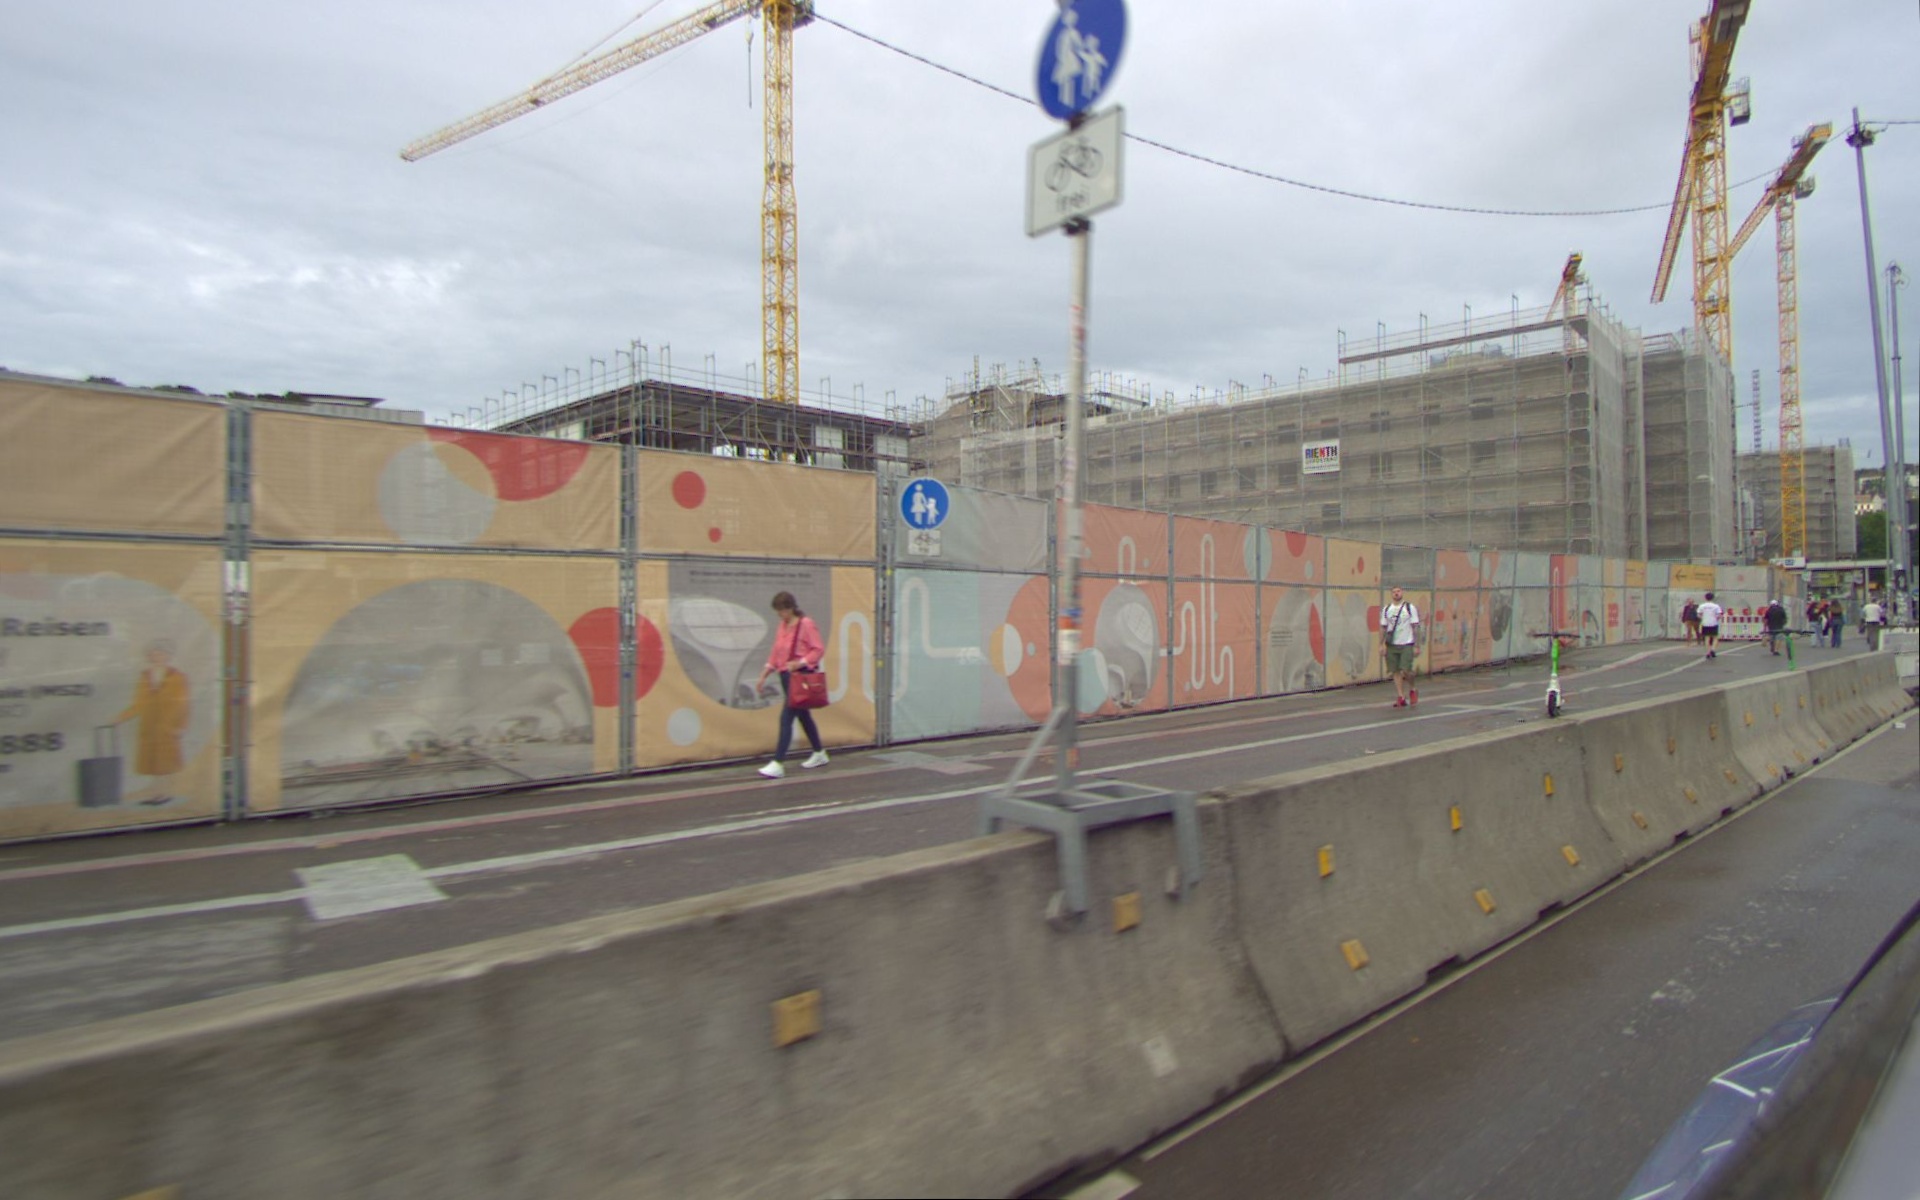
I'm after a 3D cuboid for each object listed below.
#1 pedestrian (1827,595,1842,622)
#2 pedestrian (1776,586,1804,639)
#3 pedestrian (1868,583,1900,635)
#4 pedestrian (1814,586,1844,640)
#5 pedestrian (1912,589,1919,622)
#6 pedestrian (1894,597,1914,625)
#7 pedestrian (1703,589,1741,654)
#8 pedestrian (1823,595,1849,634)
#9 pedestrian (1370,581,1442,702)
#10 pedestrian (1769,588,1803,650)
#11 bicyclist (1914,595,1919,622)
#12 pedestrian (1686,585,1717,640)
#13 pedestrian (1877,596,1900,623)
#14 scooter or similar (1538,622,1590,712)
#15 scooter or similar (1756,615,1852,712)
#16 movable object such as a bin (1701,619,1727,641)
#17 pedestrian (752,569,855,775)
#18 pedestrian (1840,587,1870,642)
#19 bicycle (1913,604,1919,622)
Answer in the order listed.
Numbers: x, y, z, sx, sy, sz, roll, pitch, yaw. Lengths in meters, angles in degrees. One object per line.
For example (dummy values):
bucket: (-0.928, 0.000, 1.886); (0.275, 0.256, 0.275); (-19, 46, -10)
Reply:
pedestrian: (65.979, 0.619, 76.366); (0.618, 2.039, 0.576); (-1, -1, 12)
pedestrian: (30.281, 0.444, 36.933); (0.682, 1.913, 0.684); (0, -1, -45)
pedestrian: (36.824, 0.340, 40.347); (0.955, 2.042, 0.804); (0, -1, -41)
pedestrian: (31.213, 0.478, 36.356); (0.681, 1.913, 0.684); (0, -1, -41)
pedestrian: (58.895, 0.347, 61.941); (0.849, 2.037, 0.788); (0, 0, -37)
pedestrian: (60.936, 0.729, 65.333); (0.866, 1.778, 0.814); (0, -1, -42)
pedestrian: (21.141, 0.585, 28.065); (0.892, 1.763, 0.684); (0, -1, -44)
pedestrian: (43.833, 0.730, 50.638); (0.650, 1.919, 0.849); (0, -1, -41)
pedestrian: (7.223, 0.642, 16.383); (0.973, 1.890, 0.704); (0, -1, -42)
pedestrian: (24.148, 0.548, 29.576); (0.824, 1.763, 0.643); (0, -1, -44)
bicyclist: (63.112, 0.563, 66.321); (0.425, 1.726, 0.698); (0, -1, -28)
pedestrian: (26.645, 0.443, 36.364); (0.642, 1.919, 0.768); (0, -1, -41)
pedestrian: (66.085, 0.668, 72.054); (0.701, 1.747, 0.744); (4, 5, -1)
scooter or similar: (8.688, 0.929, 14.537); (0.466, 1.198, 1.396); (-1, -1, 38)
scooter or similar: (11.603, 0.839, 13.904); (1.543, 1.230, 0.676); (0, -1, -38)
movable object such as a bin: (27.223, 1.065, 36.521); (0.765, 0.743, 0.597); (-3, 1, -42)
pedestrian: (-1.520, 0.663, 9.803); (0.697, 1.890, 0.719); (0, -1, -44)
pedestrian: (31.690, 0.513, 35.826); (0.681, 1.913, 0.684); (0, -1, -41)
bicycle: (63.613, 0.883, 66.557); (1.951, 1.147, 0.757); (-1, 2, -27)
